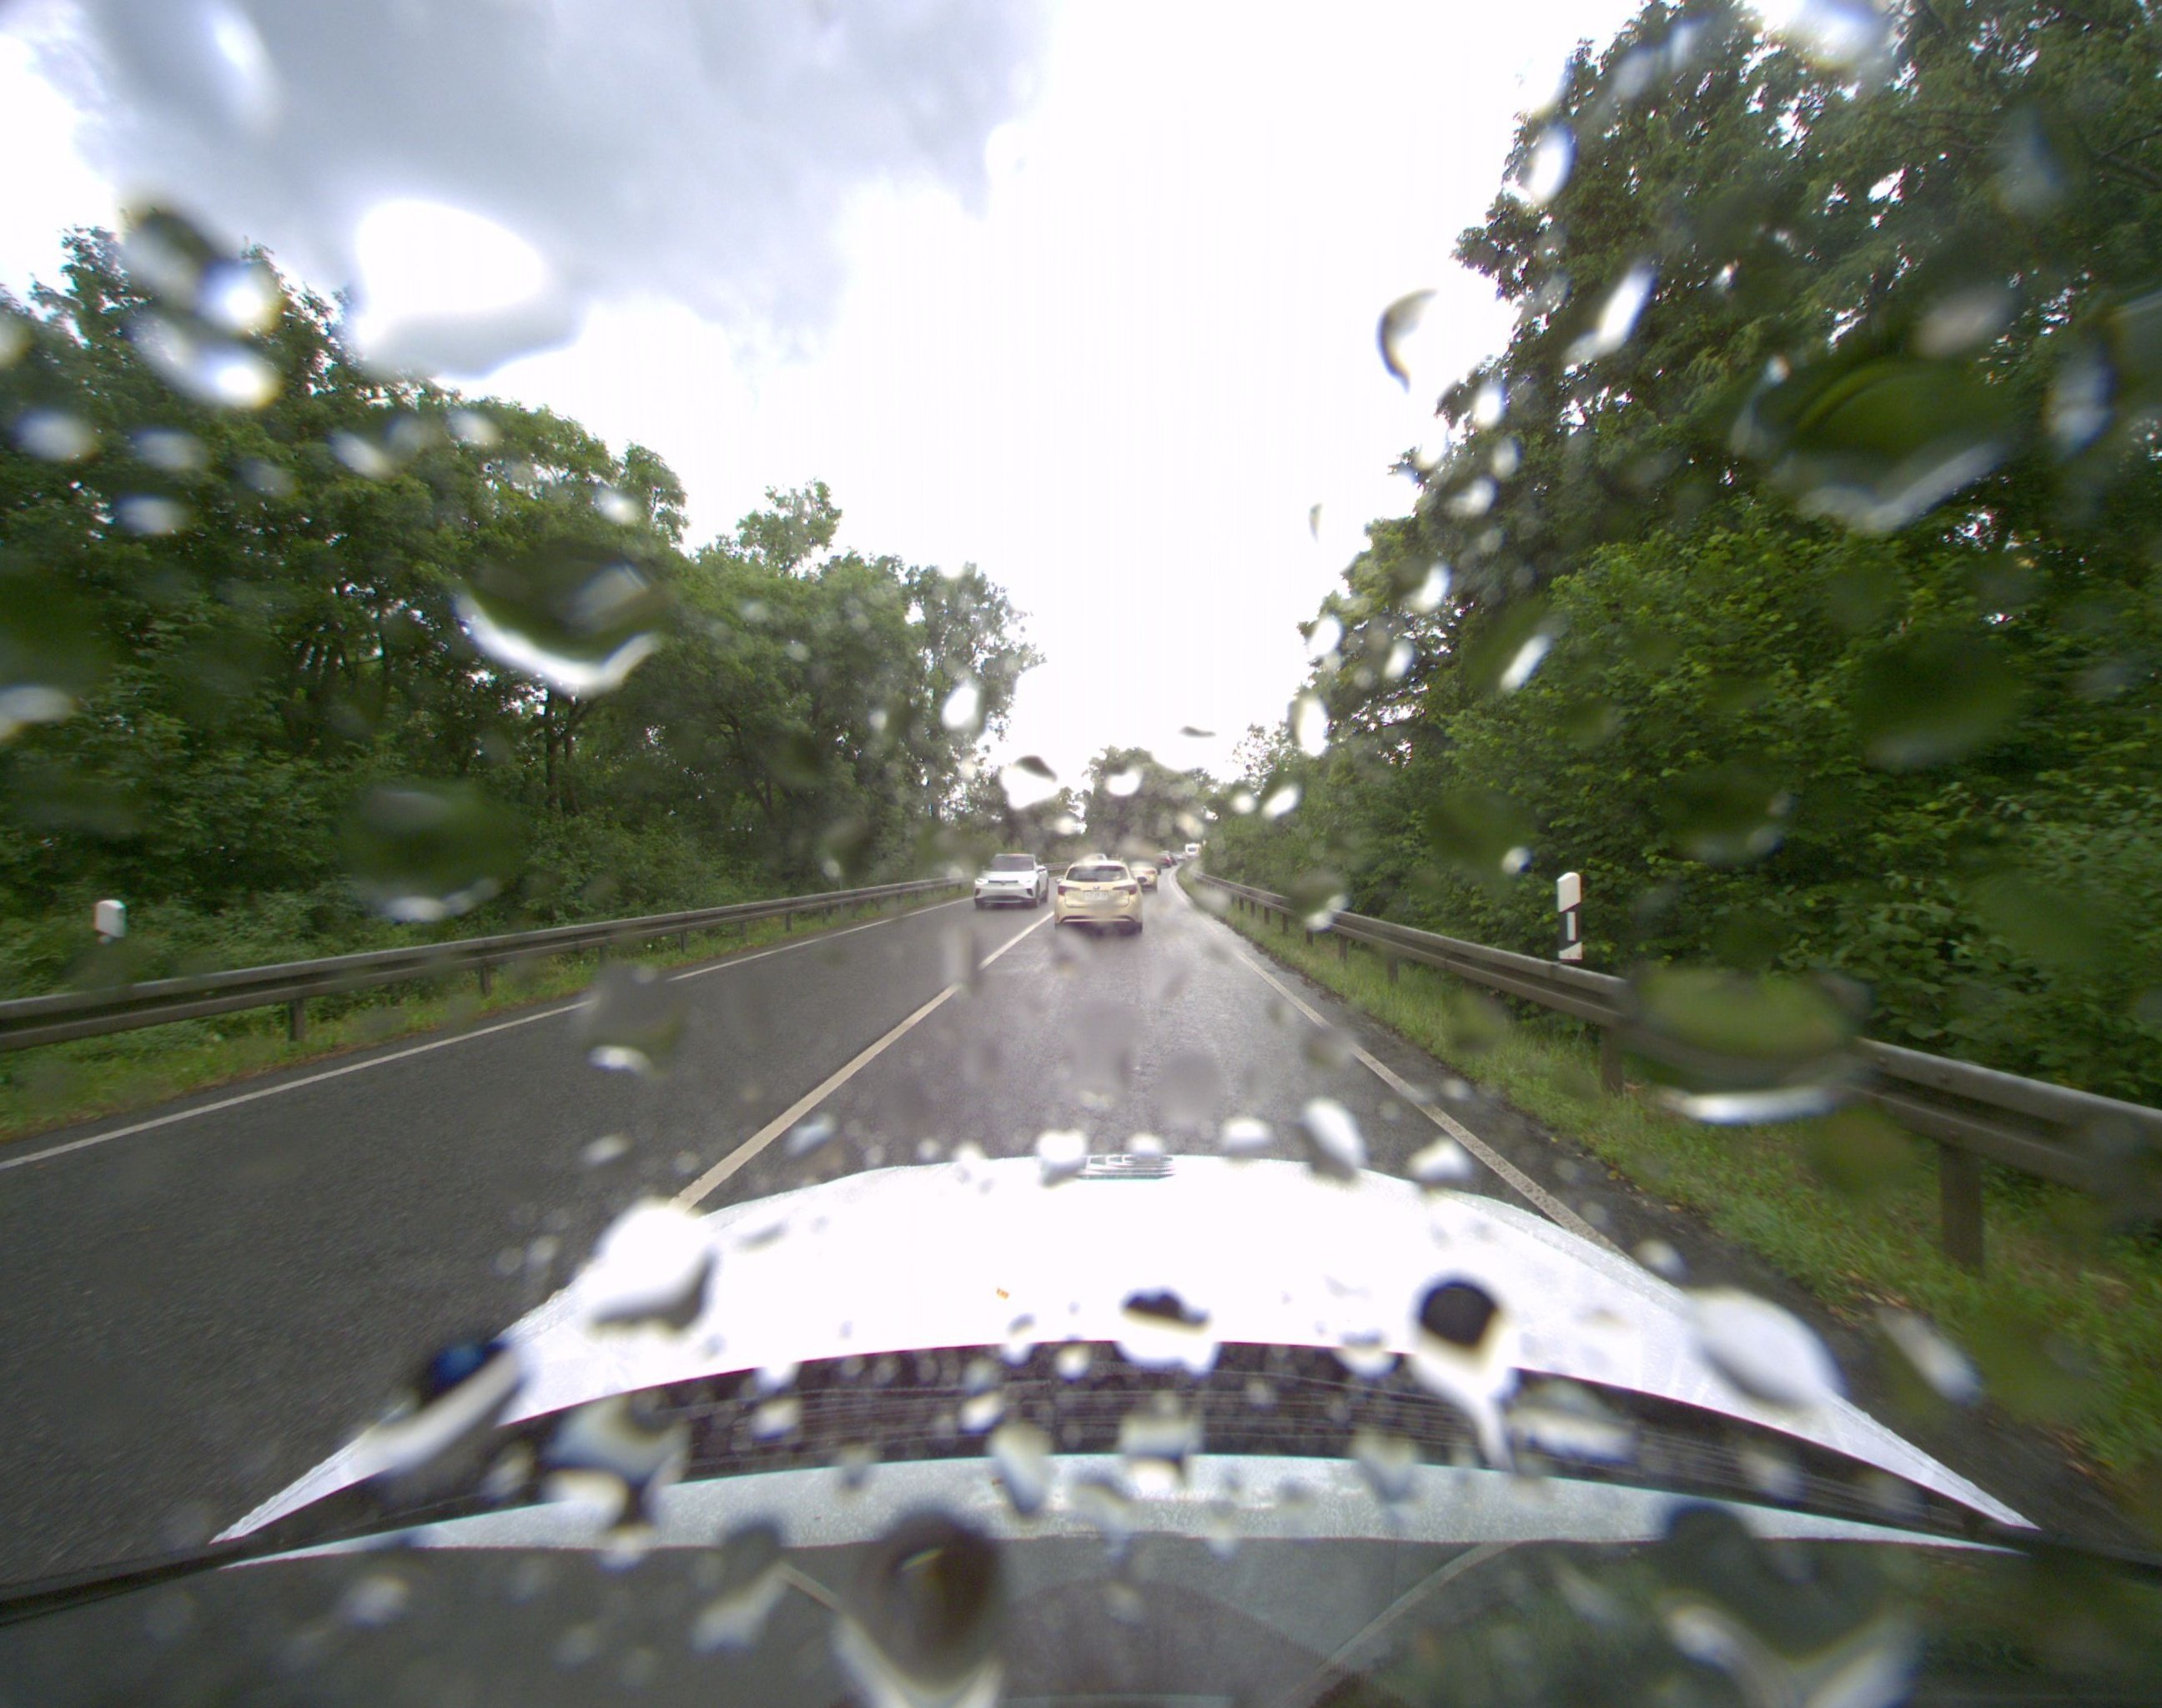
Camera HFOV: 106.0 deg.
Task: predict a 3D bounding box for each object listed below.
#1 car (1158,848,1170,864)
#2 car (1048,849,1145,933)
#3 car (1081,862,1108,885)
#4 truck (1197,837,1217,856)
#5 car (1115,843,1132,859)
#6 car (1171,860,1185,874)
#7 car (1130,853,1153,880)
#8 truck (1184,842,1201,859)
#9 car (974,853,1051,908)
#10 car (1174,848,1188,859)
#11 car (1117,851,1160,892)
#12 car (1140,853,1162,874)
[{"bbox_3d":[8.428,0.191,82.350,1.161,1.547,2.609,-1,-1,7],"label":"car"},{"bbox_3d":[0.441,0.730,17.445,1.825,1.580,4.161,-1,-1,4],"label":"car"},{"bbox_3d":[1.030,1.384,59.906,1.684,1.574,4.380,-1,0,5],"label":"car"},{"bbox_3d":[26.350,-1.508,170.670,3.083,3.680,7.031,-1,-1,17],"label":"truck"},{"bbox_3d":[5.566,-0.323,105.993,1.984,2.014,4.005,-1,-1,5],"label":"car"},{"bbox_3d":[11.429,1.505,95.955,1.607,1.613,3.629,-1,-1,8],"label":"car"},{"bbox_3d":[3.597,0.757,48.535,1.295,1.547,3.263,-1,-1,4],"label":"car"},{"bbox_3d":[19.364,-0.605,142.003,2.537,2.713,7.546,-1,-1,6],"label":"truck"},{"bbox_3d":[-2.044,0.757,25.412,1.799,1.532,4.209,-1,0,3],"label":"car"},{"bbox_3d":[14.134,-0.091,115.199,1.758,1.547,3.825,-1,-1,11],"label":"car"},{"bbox_3d":[2.434,0.724,34.046,1.659,1.580,3.897,-1,-1,5],"label":"car"},{"bbox_3d":[5.409,0.751,62.753,1.603,1.547,3.819,-1,-2,5],"label":"car"}]
